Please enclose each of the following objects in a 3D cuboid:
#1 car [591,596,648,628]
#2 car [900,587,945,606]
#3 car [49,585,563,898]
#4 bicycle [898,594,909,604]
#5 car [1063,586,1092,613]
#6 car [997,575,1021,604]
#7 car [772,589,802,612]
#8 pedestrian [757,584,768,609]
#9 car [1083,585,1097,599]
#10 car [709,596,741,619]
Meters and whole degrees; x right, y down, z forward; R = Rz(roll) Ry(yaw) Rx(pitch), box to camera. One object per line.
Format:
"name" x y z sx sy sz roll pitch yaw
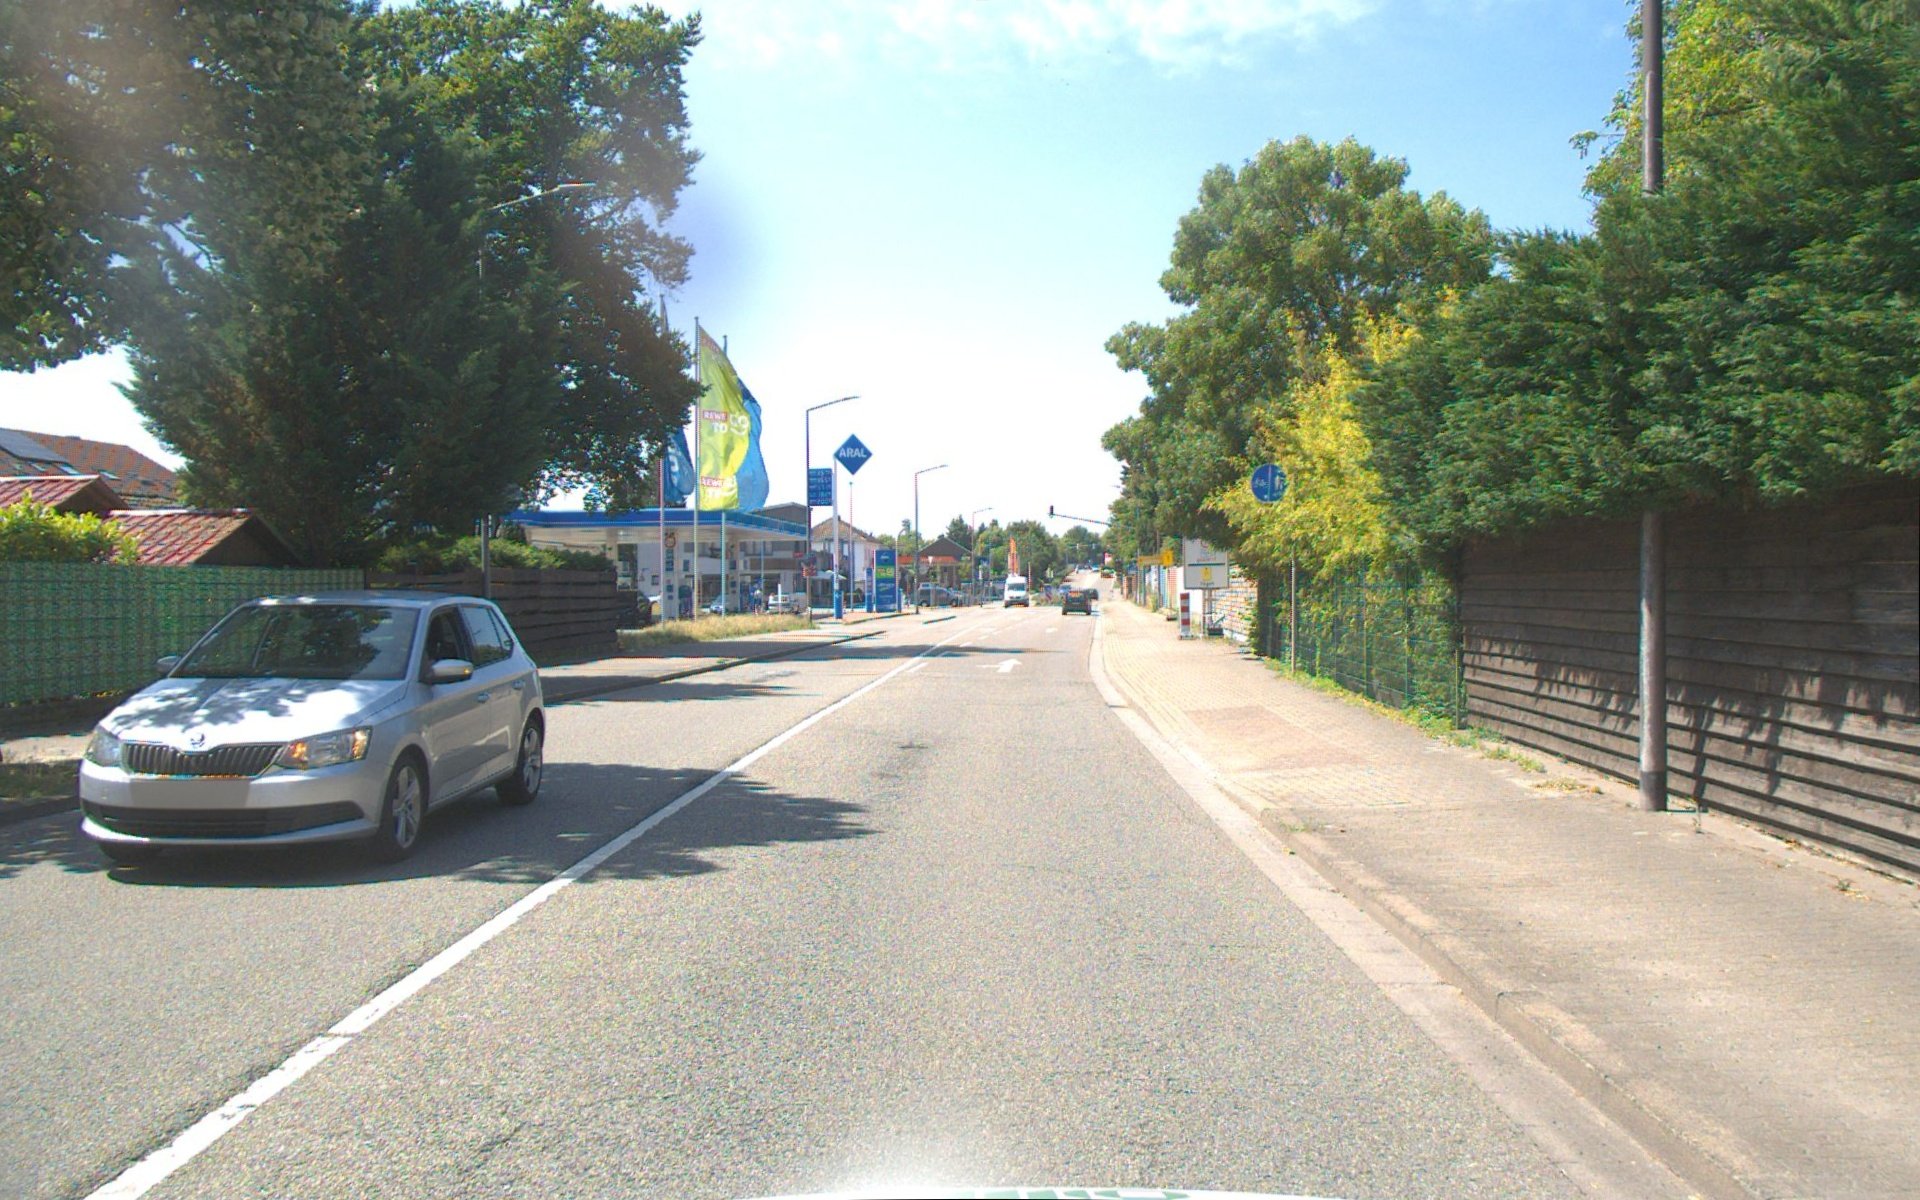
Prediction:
"car" -16.442 0.575 80.034 1.634 1.405 4.003 -2 1 5
"car" -3.305 -0.303 145.916 3.904 1.534 1.555 -2 1 1
"car" -3.721 0.695 10.139 1.579 1.508 3.708 -1 1 1
"bicycle" -4.671 -0.093 137.336 0.599 0.807 2.576 -2 1 5
"car" 6.945 -0.070 97.444 1.630 1.481 3.474 -2 1 5
"car" 4.321 -0.888 145.791 1.952 2.465 5.950 0 0 4
"car" -12.124 0.049 116.056 1.584 1.444 3.712 -3 1 1
"pedestrian" -13.944 -0.253 116.748 0.602 1.720 0.704 -2 1 -21
"car" 15.553 -0.974 198.200 1.630 1.481 3.474 -2 1 5
"car" -16.424 0.525 115.831 1.584 1.444 3.712 -3 1 1
